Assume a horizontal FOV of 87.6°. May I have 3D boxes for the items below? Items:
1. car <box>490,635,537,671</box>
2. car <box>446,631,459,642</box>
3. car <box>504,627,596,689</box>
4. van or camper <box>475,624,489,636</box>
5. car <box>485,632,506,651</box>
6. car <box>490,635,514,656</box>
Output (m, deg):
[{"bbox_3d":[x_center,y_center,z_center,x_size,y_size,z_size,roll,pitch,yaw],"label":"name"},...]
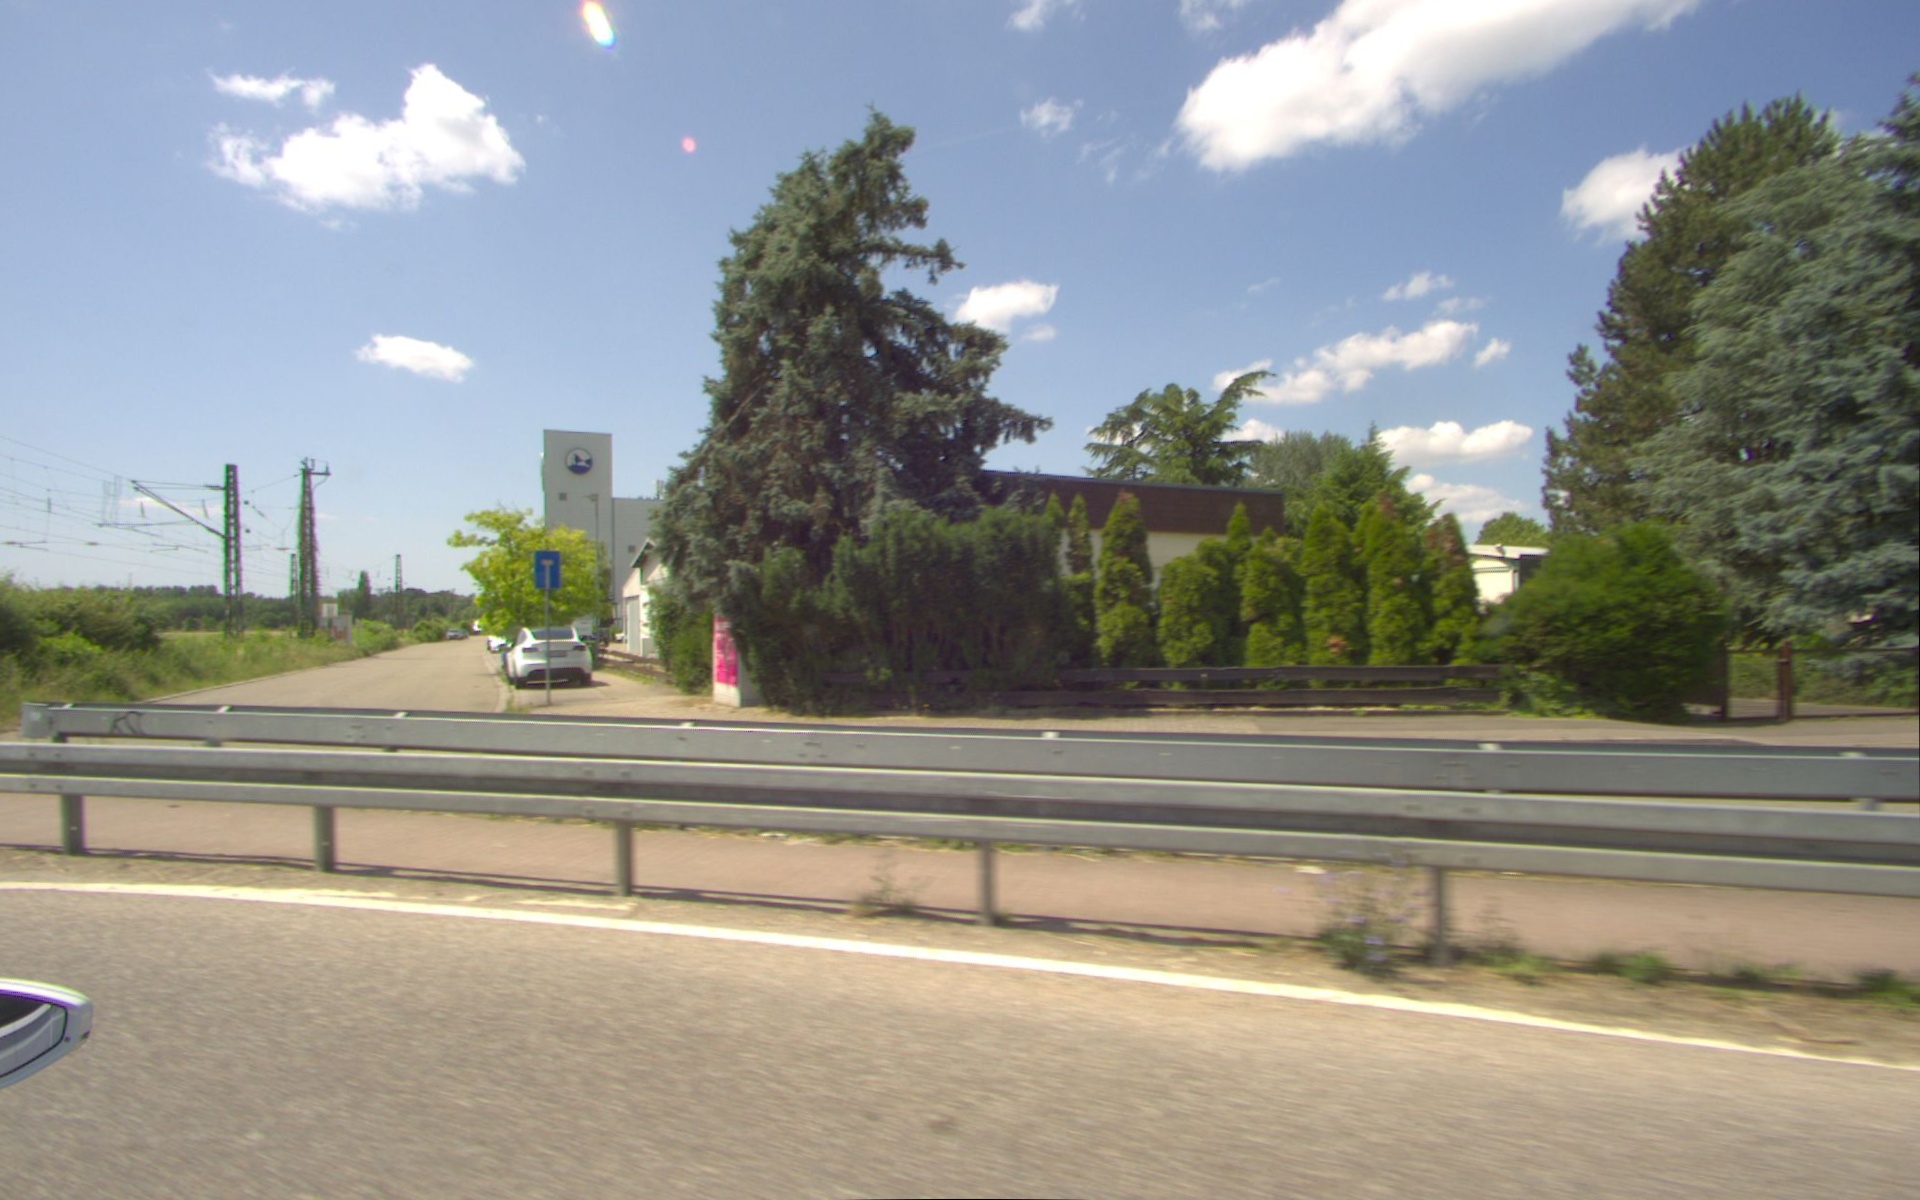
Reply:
[{"bbox_3d":[-18.725,2.202,41.937,1.557,1.394,3.041,0,-1,-29],"label":"car"},{"bbox_3d":[-73.952,5.324,146.005,1.625,1.497,2.892,0,-1,-25],"label":"car"},{"bbox_3d":[-11.422,1.534,27.725,1.970,1.529,4.434,0,-1,-28],"label":"car"},{"bbox_3d":[-97.300,6.078,204.013,2.466,2.482,4.848,0,-1,-24],"label":"van or camper"},{"bbox_3d":[-38.979,3.461,84.013,1.571,1.472,3.321,0,-1,-25],"label":"car"},{"bbox_3d":[-33.579,3.347,73.433,1.571,1.472,3.321,0,-1,-25],"label":"car"}]
